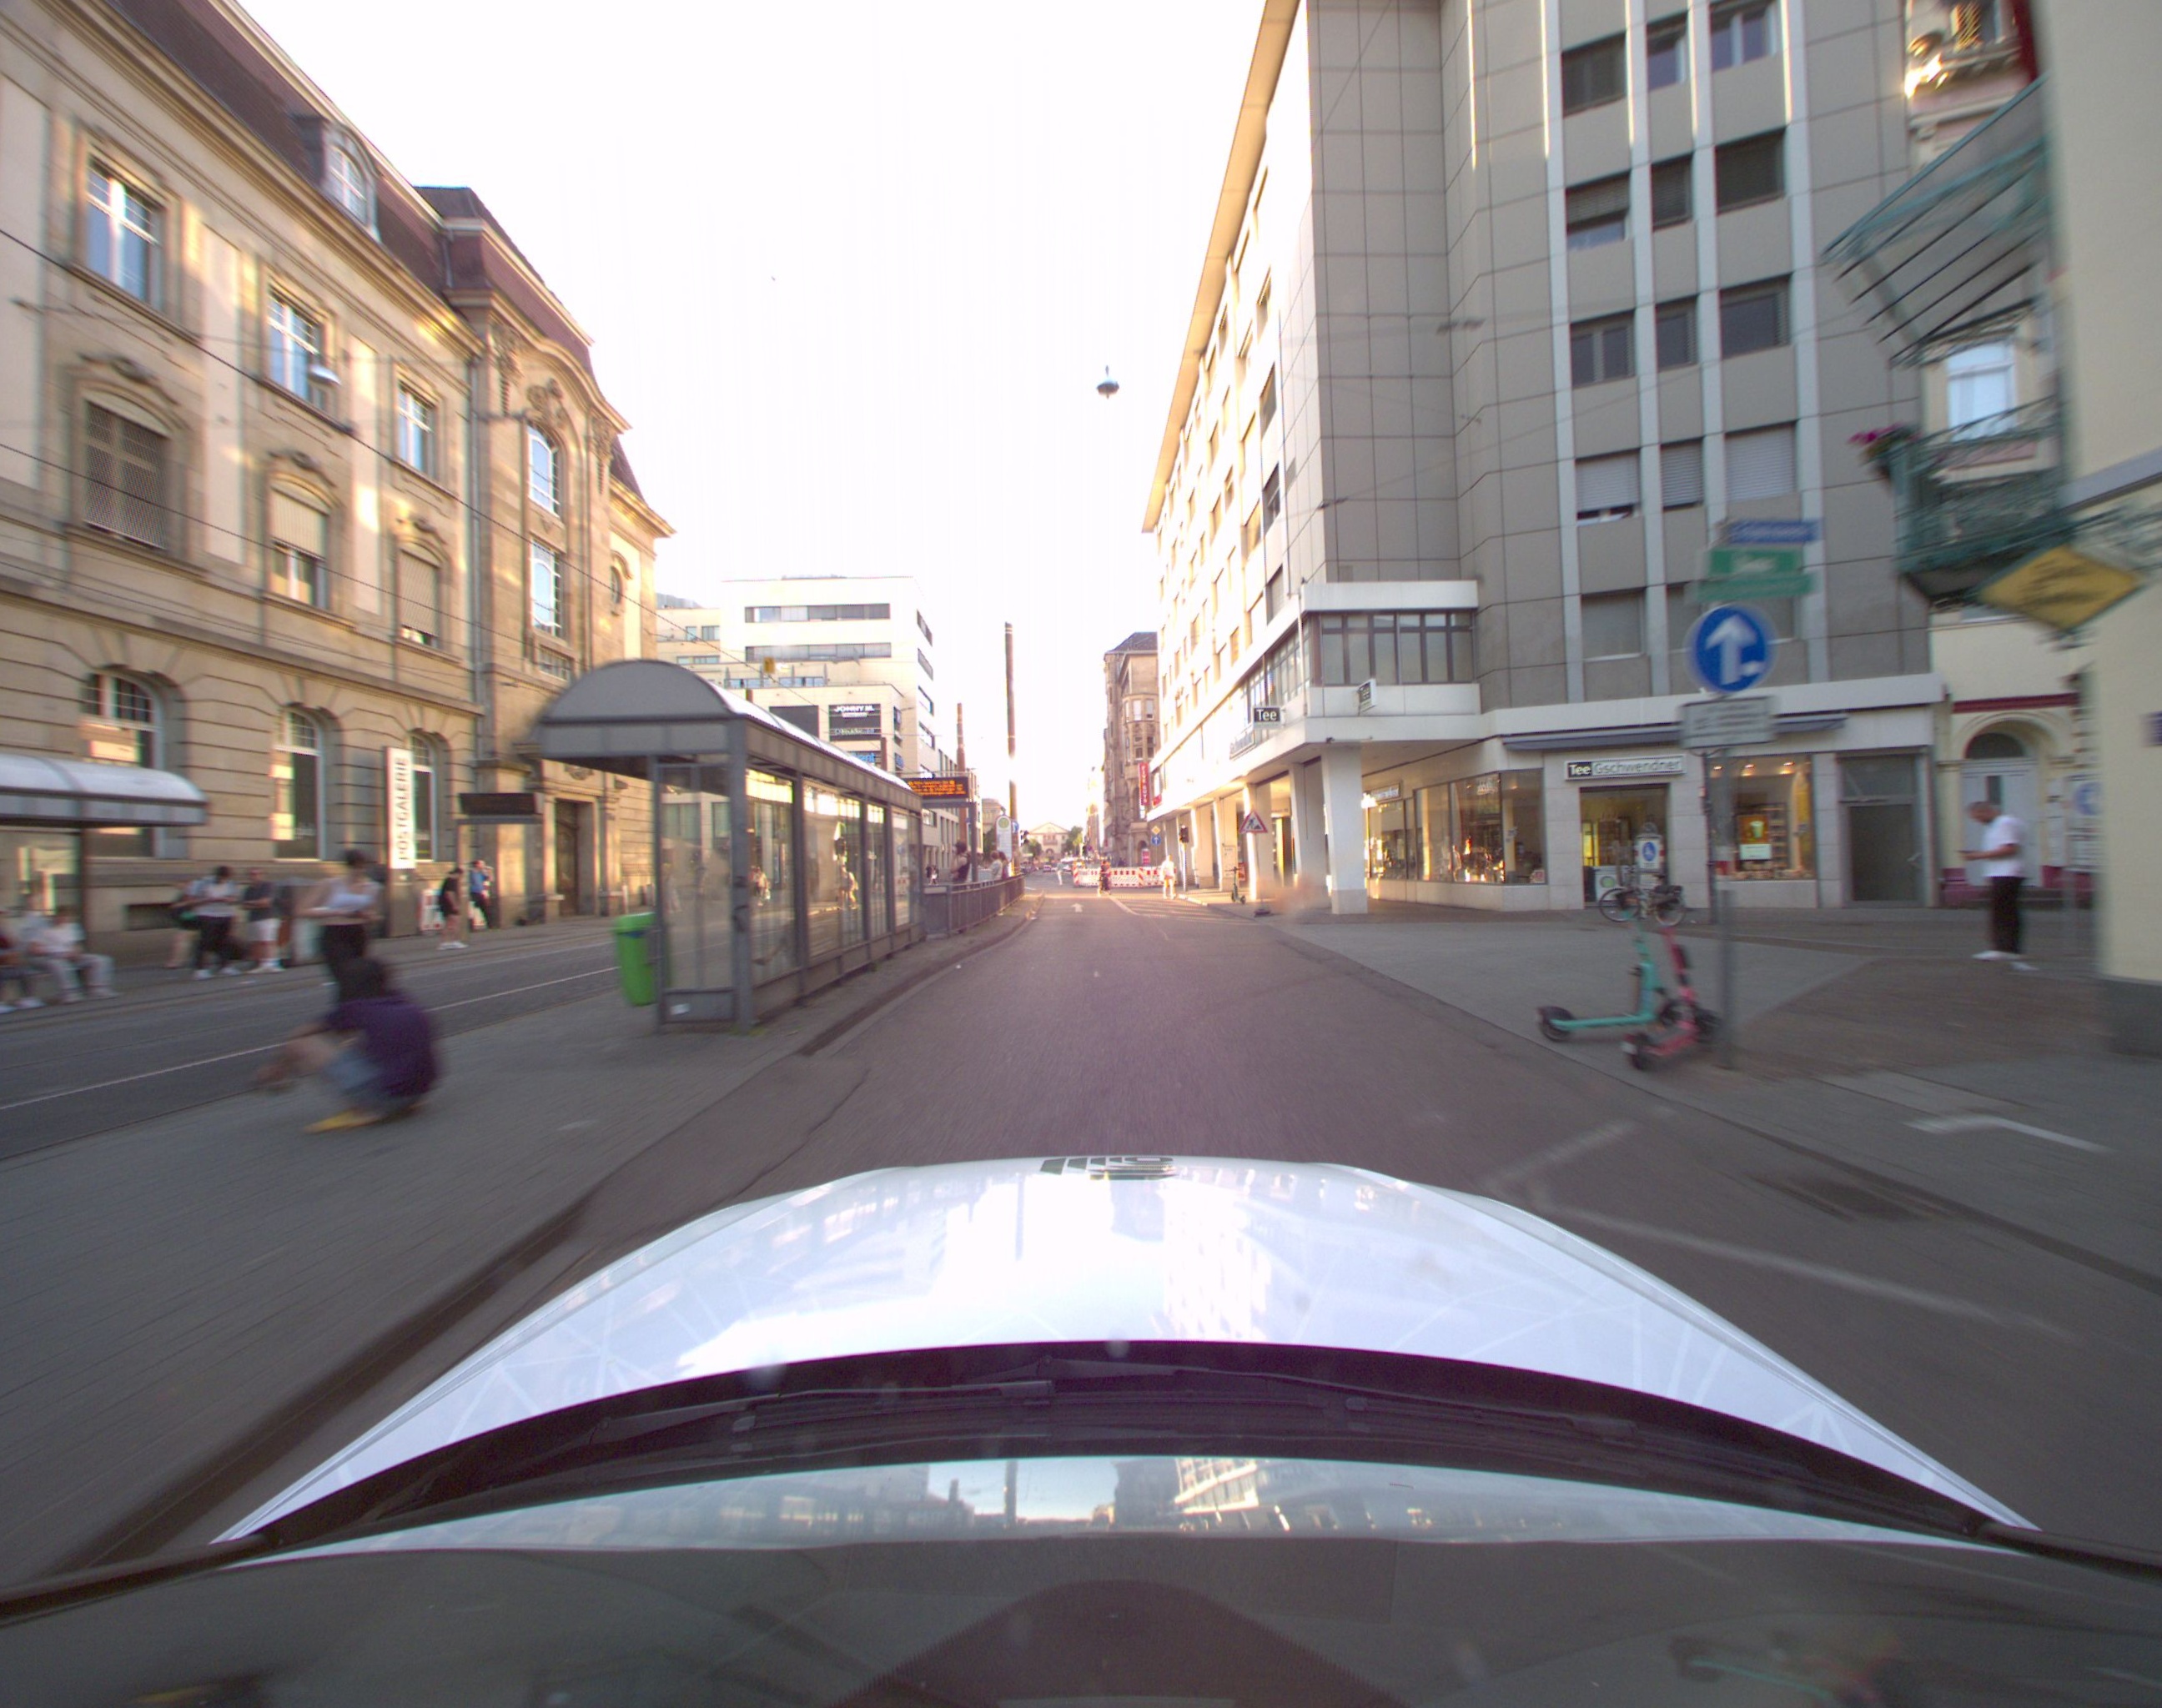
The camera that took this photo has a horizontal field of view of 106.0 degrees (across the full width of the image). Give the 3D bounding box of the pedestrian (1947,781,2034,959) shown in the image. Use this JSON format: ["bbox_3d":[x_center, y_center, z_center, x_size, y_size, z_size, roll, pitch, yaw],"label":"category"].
[{"bbox_3d":[10.710,0.183,9.591,0.648,2.014,0.538,-1,-1,-35],"label":"pedestrian"}]

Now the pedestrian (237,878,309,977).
[{"bbox_3d":[-13.179,1.183,13.303,0.515,1.569,0.638,-2,-2,2],"label":"pedestrian"}]

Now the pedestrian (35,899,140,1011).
[{"bbox_3d":[-12.495,1.251,10.262,0.515,1.327,0.638,-2,-2,2],"label":"pedestrian"}]

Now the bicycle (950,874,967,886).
[{"bbox_3d":[-12.309,2.614,81.848,1.690,1.122,0.451,-1,-2,0],"label":"bicycle"}]

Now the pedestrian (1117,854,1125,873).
[{"bbox_3d":[3.731,0.891,75.319,0.623,1.690,0.670,-2,-1,-4],"label":"pedestrian"}]

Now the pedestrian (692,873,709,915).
[{"bbox_3d":[-13.972,1.456,29.904,0.528,1.525,0.498,-1,-1,-25],"label":"pedestrian"}]

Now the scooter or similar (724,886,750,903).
[{"bbox_3d":[-19.965,2.344,47.330,1.090,0.904,0.890,-2,-1,0],"label":"scooter or similar"}]

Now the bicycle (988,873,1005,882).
[{"bbox_3d":[-10.269,2.815,98.657,1.980,1.122,0.553,0,-2,-31],"label":"bicycle"}]

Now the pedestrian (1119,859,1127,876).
[{"bbox_3d":[4.058,1.283,78.291,0.709,1.611,0.821,0,-2,-4],"label":"pedestrian"}]

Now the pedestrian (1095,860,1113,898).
[{"bbox_3d":[1.028,1.137,36.749,0.699,1.693,0.539,0,-2,-9],"label":"pedestrian"}]

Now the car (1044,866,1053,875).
[{"bbox_3d":[-7.101,3.677,180.076,1.988,1.904,3.996,0,-1,-2],"label":"car"}]

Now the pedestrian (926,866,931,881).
[{"bbox_3d":[-14.981,1.911,80.094,0.389,1.515,0.505,-2,-1,-3],"label":"pedestrian"}]

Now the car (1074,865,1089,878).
[{"bbox_3d":[0.081,2.247,103.937,1.674,1.547,3.670,-3,-1,-2],"label":"car"}]

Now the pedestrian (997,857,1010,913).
[{"bbox_3d":[-2.295,0.925,24.213,0.356,1.642,0.502,0,-2,-4],"label":"pedestrian"}]

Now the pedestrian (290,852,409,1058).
[{"bbox_3d":[-6.434,0.842,7.172,0.668,1.691,0.642,-3,-2,36],"label":"pedestrian"}]

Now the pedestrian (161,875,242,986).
[{"bbox_3d":[-13.511,1.152,12.526,0.515,1.646,0.638,-2,-2,2],"label":"pedestrian"}]

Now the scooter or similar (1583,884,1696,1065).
[{"bbox_3d":[4.275,0.874,6.216,1.052,1.234,0.269,-2,-2,-34],"label":"scooter or similar"}]

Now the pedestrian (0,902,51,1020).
[{"bbox_3d":[-12.551,1.232,9.390,0.515,1.327,0.638,-2,-2,2],"label":"pedestrian"}]

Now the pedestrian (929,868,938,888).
[{"bbox_3d":[-12.429,1.989,68.621,0.527,1.674,0.650,-2,-1,-1],"label":"pedestrian"}]

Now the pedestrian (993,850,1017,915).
[{"bbox_3d":[-2.106,0.795,22.617,0.537,1.767,0.595,-1,-2,4],"label":"pedestrian"}]

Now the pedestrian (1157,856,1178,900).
[{"bbox_3d":[3.621,0.983,34.117,0.698,1.816,0.850,0,-1,-7],"label":"pedestrian"}]

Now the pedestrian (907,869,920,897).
[{"bbox_3d":[-10.336,1.756,50.130,0.744,1.700,0.607,-1,-1,-13],"label":"pedestrian"}]

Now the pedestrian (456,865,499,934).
[{"bbox_3d":[-16.043,1.193,21.668,0.619,1.776,0.705,-1,-1,-5],"label":"pedestrian"}]

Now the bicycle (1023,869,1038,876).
[{"bbox_3d":[-7.601,2.791,123.242,2.141,1.029,0.640,-2,-1,0],"label":"bicycle"}]

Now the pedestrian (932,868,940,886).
[{"bbox_3d":[-14.377,2.282,80.775,0.780,1.751,0.599,0,-2,-5],"label":"pedestrian"}]

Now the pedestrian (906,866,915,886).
[{"bbox_3d":[-16.367,2.110,78.290,0.569,1.855,0.818,-1,-2,10],"label":"pedestrian"}]

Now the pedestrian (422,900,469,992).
[{"bbox_3d":[-12.803,1.840,16.416,0.558,1.776,0.468,-1,-1,-6],"label":"pedestrian"}]

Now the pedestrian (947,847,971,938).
[{"bbox_3d":[-2.411,0.759,16.120,0.411,1.767,0.593,0,-2,-4],"label":"pedestrian"}]

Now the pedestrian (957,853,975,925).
[{"bbox_3d":[-2.693,0.815,19.095,0.385,1.642,0.549,0,-2,-4],"label":"pedestrian"}]

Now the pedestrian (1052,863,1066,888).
[{"bbox_3d":[-1.612,1.556,58.666,0.860,1.761,0.770,-1,-2,10],"label":"pedestrian"}]

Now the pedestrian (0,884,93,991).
[{"bbox_3d":[-16.292,1.289,12.802,0.697,1.614,0.630,0,-1,-3],"label":"pedestrian"}]

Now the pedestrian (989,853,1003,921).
[{"bbox_3d":[-2.290,0.874,21.928,0.341,1.796,0.544,0,-2,-3],"label":"pedestrian"}]

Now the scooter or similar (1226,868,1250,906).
[{"bbox_3d":[5.327,1.109,27.719,0.504,1.234,1.179,-2,-1,-2],"label":"scooter or similar"}]

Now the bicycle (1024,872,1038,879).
[{"bbox_3d":[-7.623,3.220,123.876,2.141,1.029,0.640,-2,-1,0],"label":"bicycle"}]

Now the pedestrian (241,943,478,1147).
[{"bbox_3d":[-3.994,1.005,4.536,0.791,0.939,0.696,-2,-1,21],"label":"pedestrian"}]

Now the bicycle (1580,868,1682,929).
[{"bbox_3d":[10.480,0.817,15.603,0.766,1.029,1.848,-1,1,2],"label":"bicycle"}]

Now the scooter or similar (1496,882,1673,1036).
[{"bbox_3d":[4.238,0.890,6.913,1.167,1.234,0.317,-3,-2,14],"label":"scooter or similar"}]

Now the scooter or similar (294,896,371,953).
[{"bbox_3d":[-16.673,1.542,18.180,0.485,1.182,1.293,-1,-1,1],"label":"scooter or similar"}]

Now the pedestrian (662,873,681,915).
[{"bbox_3d":[-15.331,1.497,30.476,0.500,1.525,0.518,-1,-1,-10],"label":"pedestrian"}]
